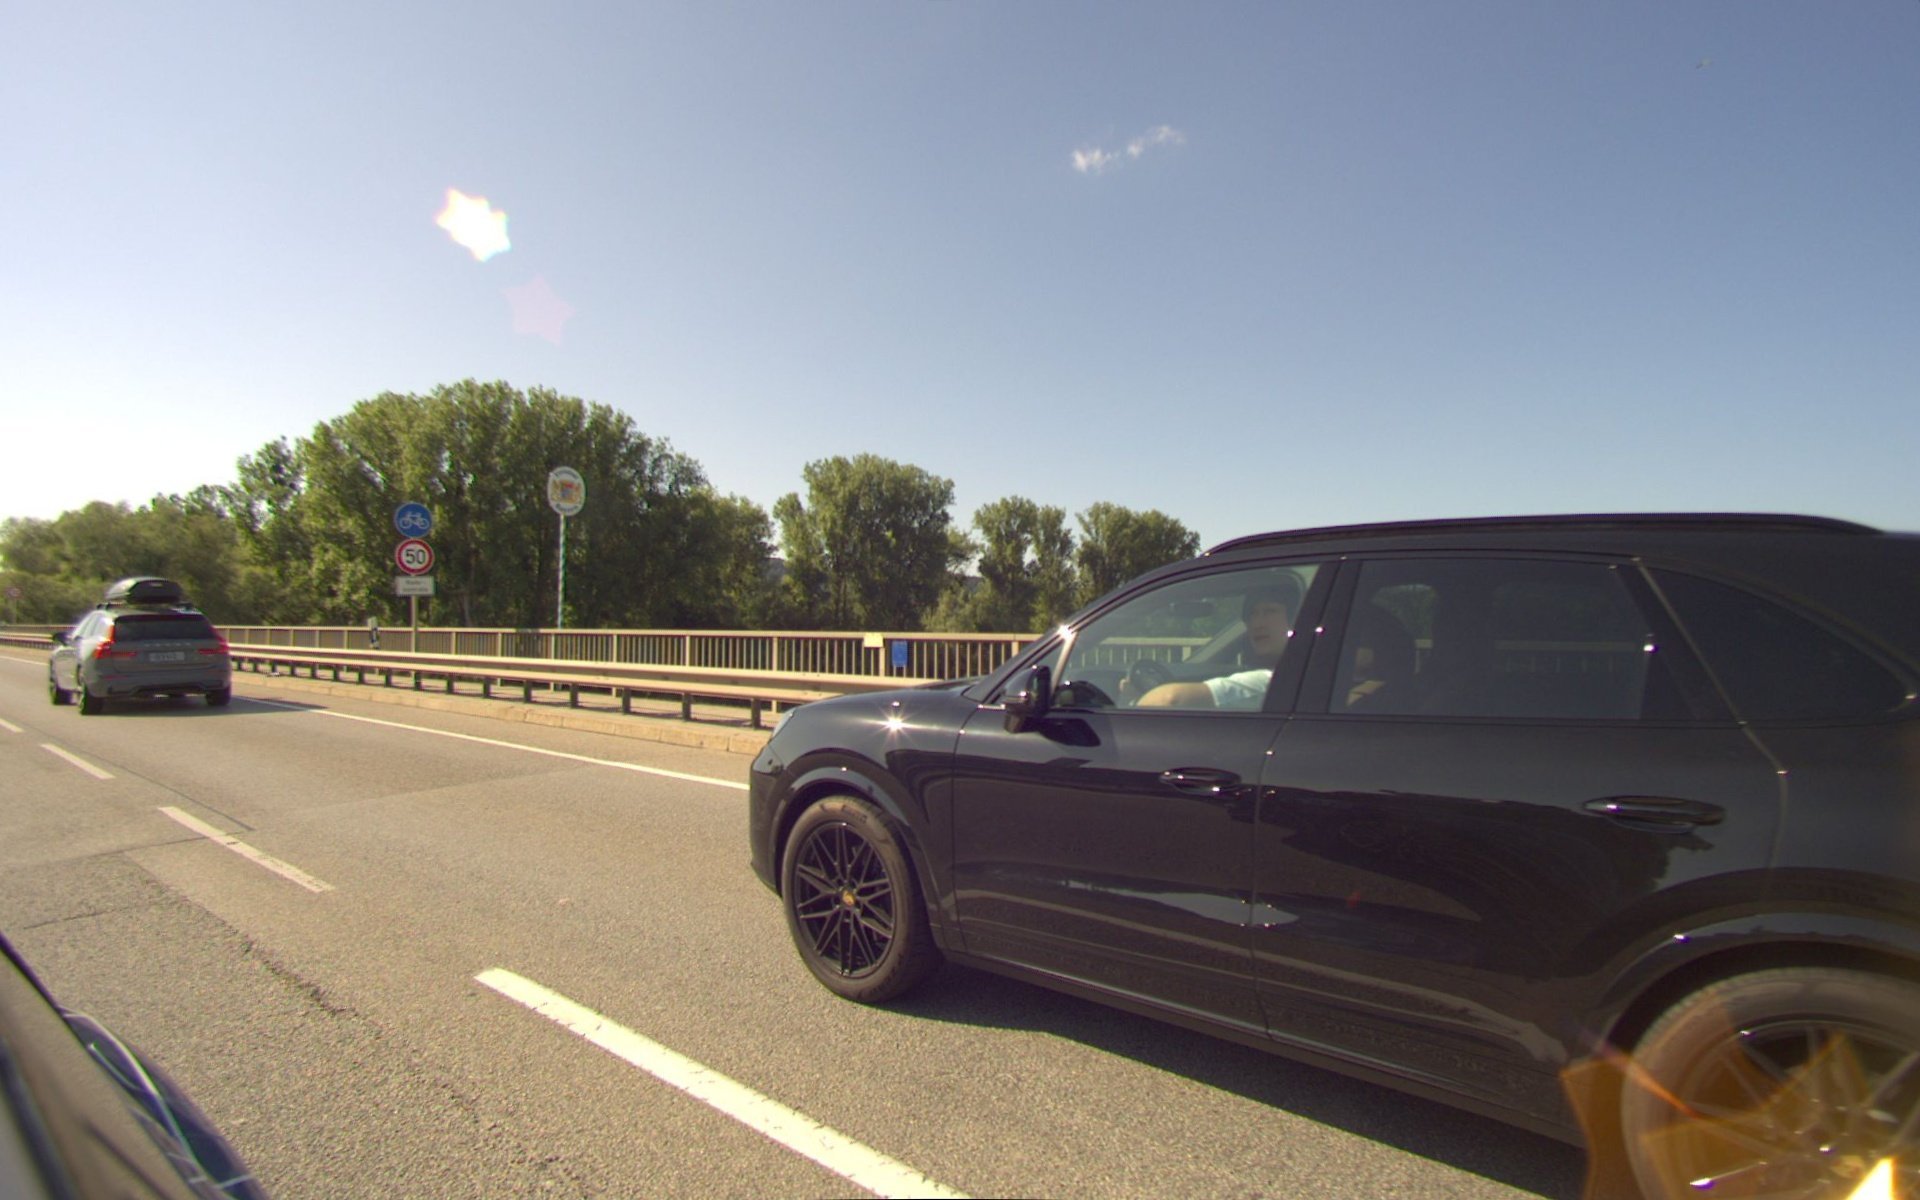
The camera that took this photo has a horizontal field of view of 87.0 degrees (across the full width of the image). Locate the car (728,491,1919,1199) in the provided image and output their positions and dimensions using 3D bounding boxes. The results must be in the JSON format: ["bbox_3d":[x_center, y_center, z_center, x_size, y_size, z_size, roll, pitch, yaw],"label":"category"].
[{"bbox_3d":[1.493,0.654,3.304,4.720,1.665,2.032,-2,0,42],"label":"car"}]

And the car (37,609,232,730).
[{"bbox_3d":[-13.930,1.070,16.974,4.564,1.735,1.835,-2,-1,42],"label":"car"}]
